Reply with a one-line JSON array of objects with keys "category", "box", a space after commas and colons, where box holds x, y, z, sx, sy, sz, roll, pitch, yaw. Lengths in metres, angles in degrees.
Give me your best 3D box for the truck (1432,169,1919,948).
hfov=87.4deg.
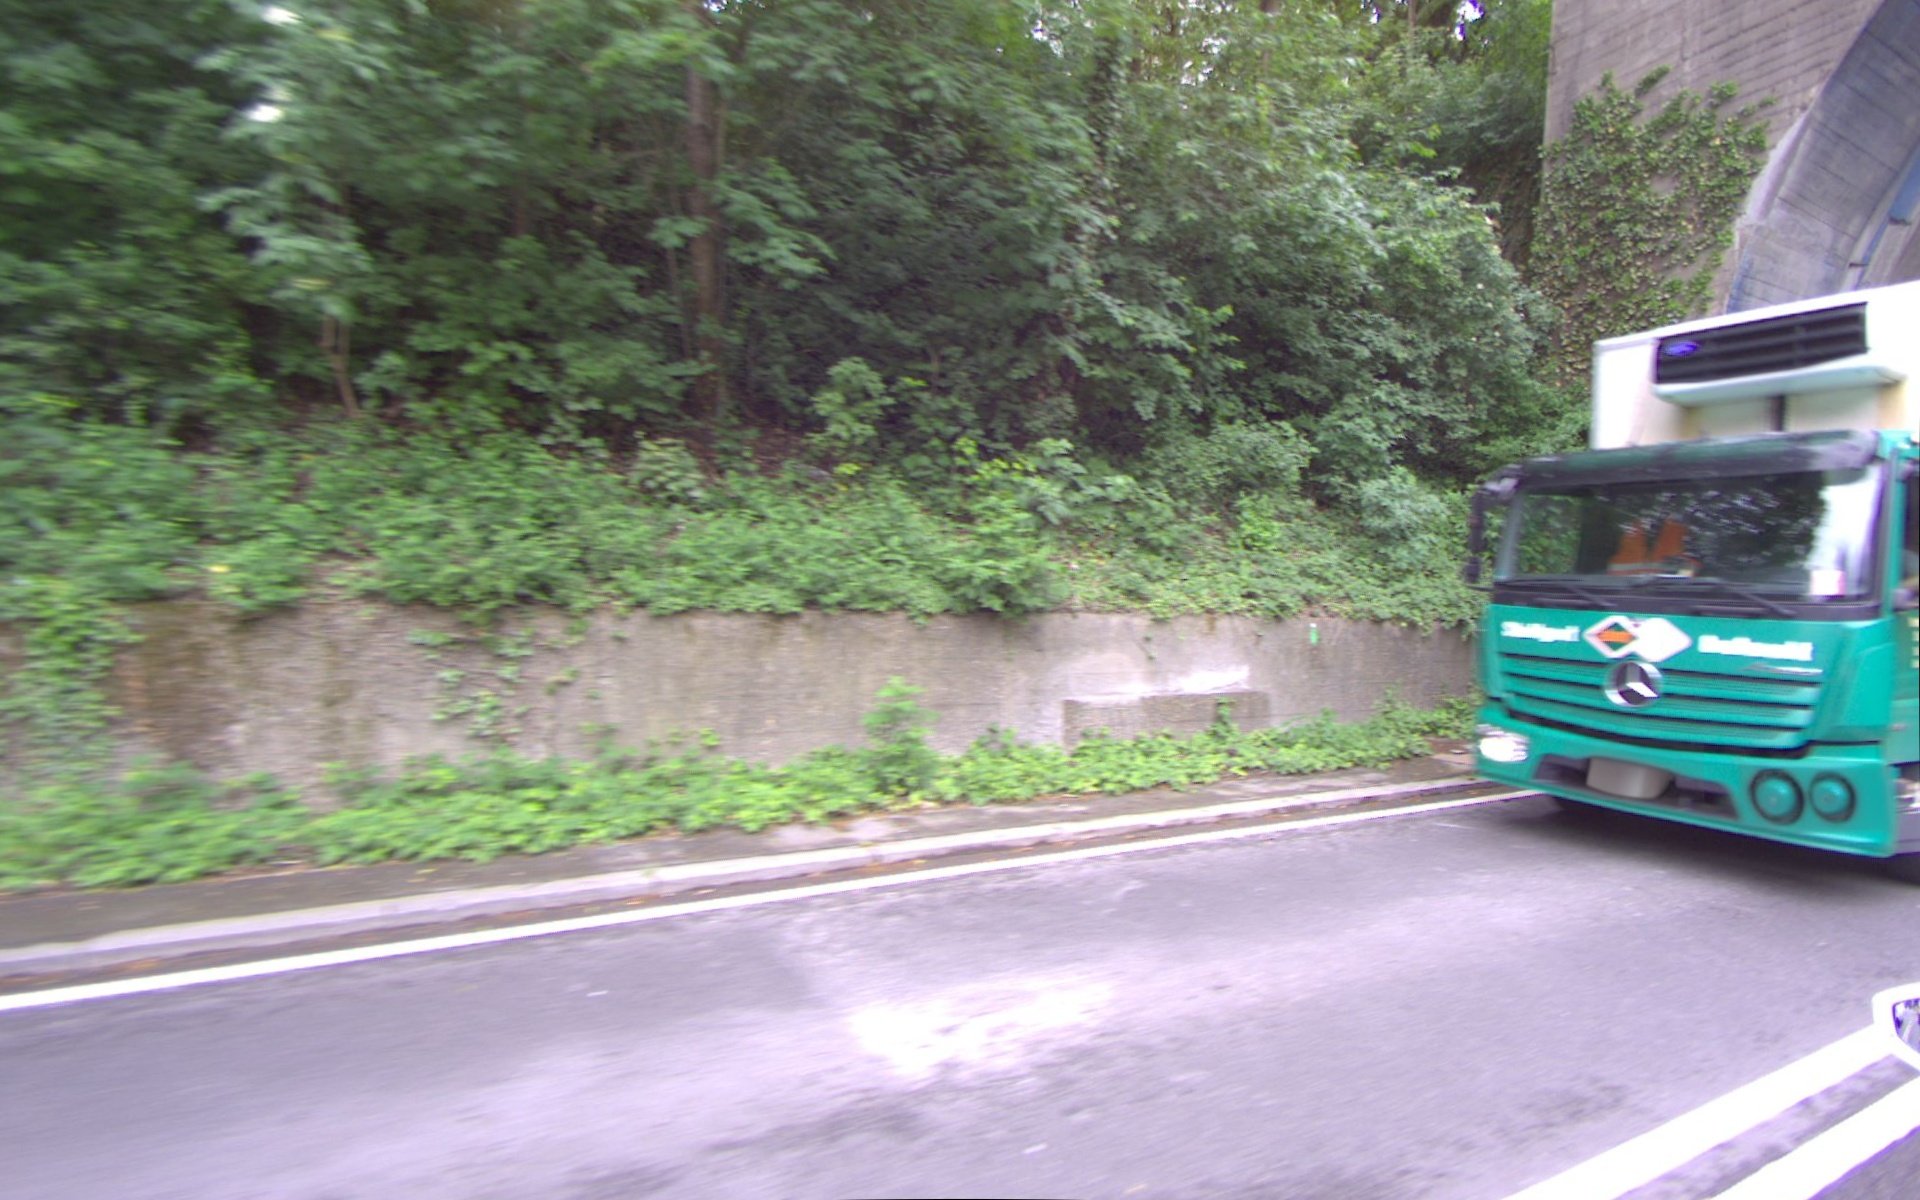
[{"category": "truck", "box": [7.212, -0.128, 7.689, 7.428, 3.716, 2.663, 2, 0, -30]}]
